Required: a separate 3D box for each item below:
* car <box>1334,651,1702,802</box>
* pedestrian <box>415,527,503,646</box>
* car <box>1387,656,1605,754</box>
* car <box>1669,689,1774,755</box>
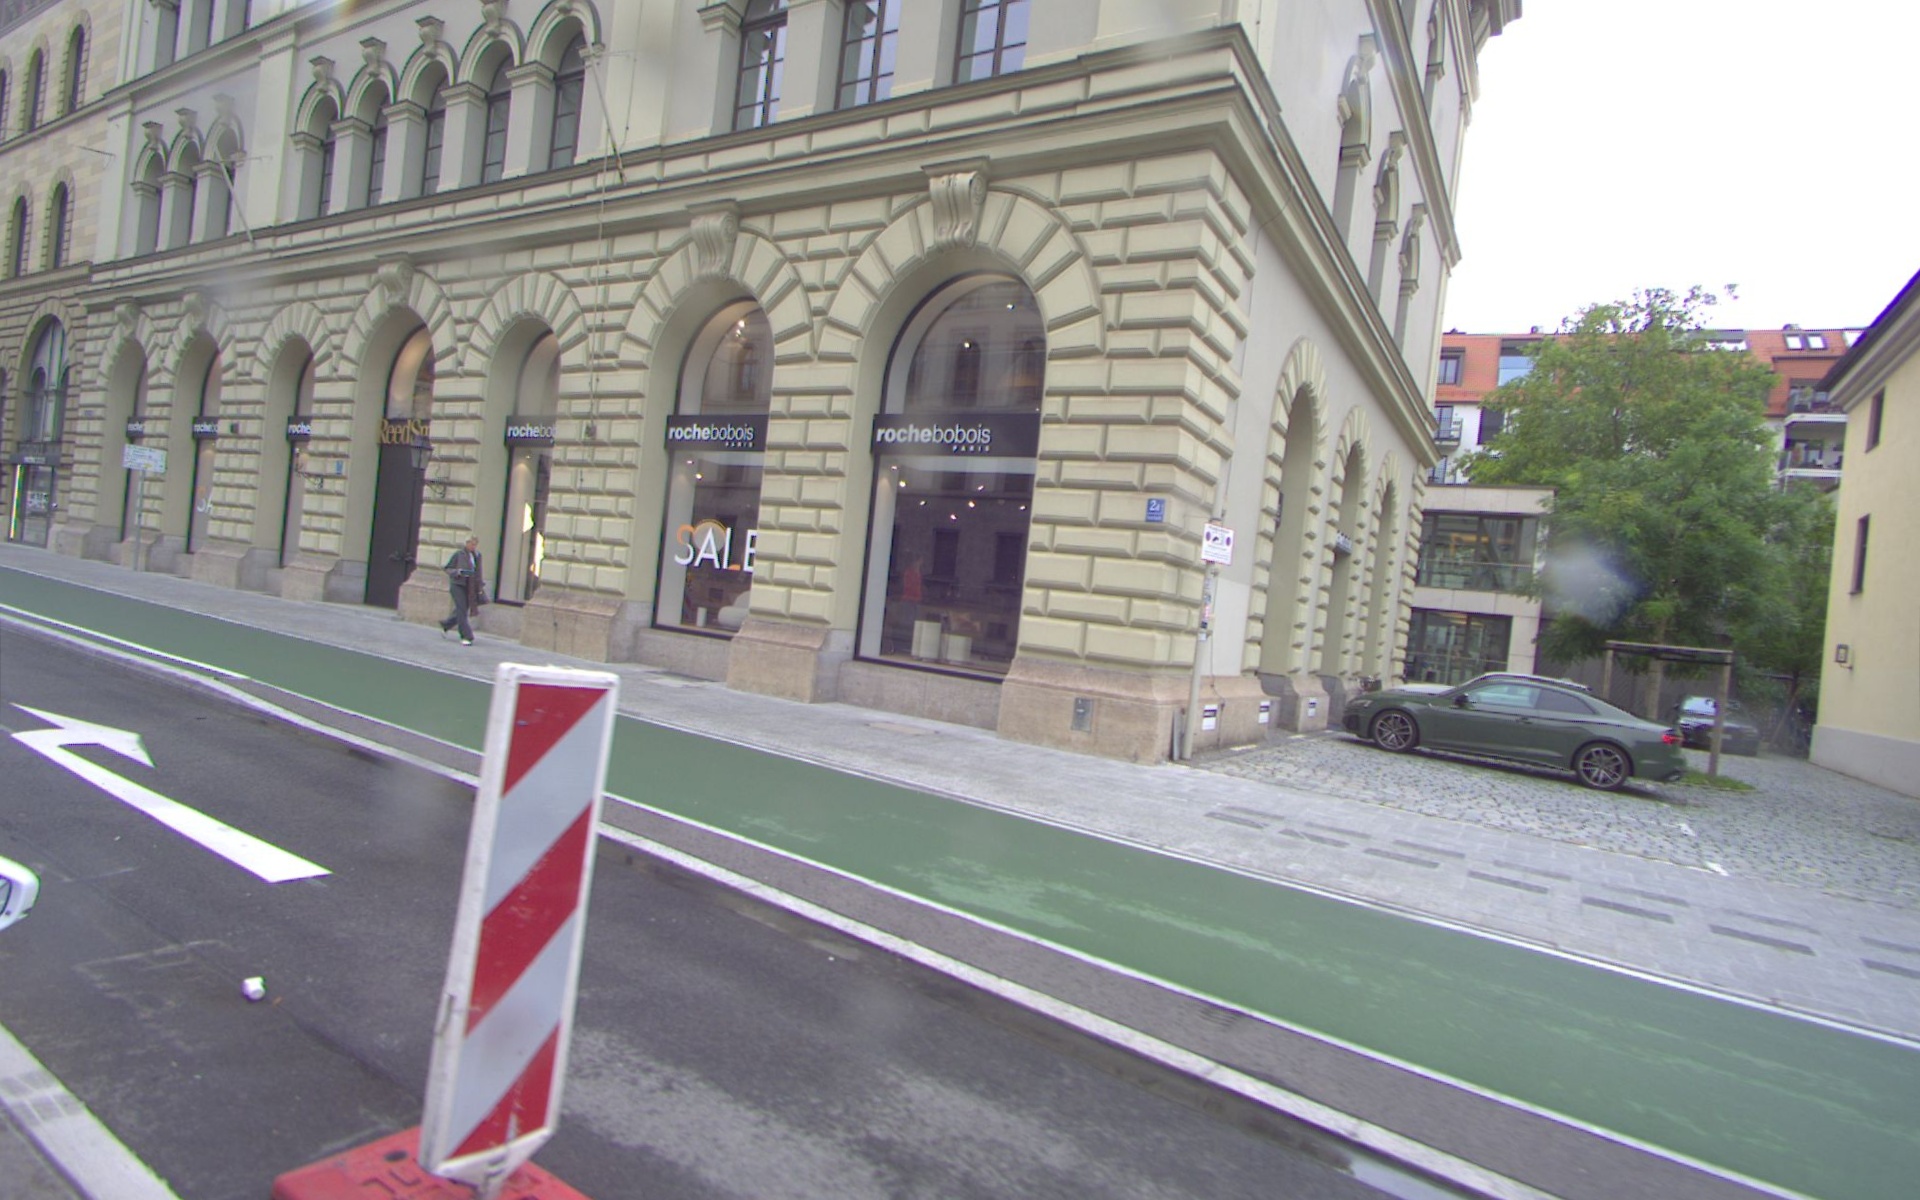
[{"bbox_3d":[8.366,1.819,15.416,4.553,1.444,1.860,7,0,32],"label":"car"},{"bbox_3d":[-7.840,-0.206,15.741,1.068,1.726,0.632,7,1,31],"label":"pedestrian"},{"bbox_3d":[11.276,2.156,21.296,3.812,1.444,1.692,7,0,32],"label":"car"},{"bbox_3d":[21.086,3.326,28.019,1.833,1.443,4.317,7,-1,33],"label":"car"}]
